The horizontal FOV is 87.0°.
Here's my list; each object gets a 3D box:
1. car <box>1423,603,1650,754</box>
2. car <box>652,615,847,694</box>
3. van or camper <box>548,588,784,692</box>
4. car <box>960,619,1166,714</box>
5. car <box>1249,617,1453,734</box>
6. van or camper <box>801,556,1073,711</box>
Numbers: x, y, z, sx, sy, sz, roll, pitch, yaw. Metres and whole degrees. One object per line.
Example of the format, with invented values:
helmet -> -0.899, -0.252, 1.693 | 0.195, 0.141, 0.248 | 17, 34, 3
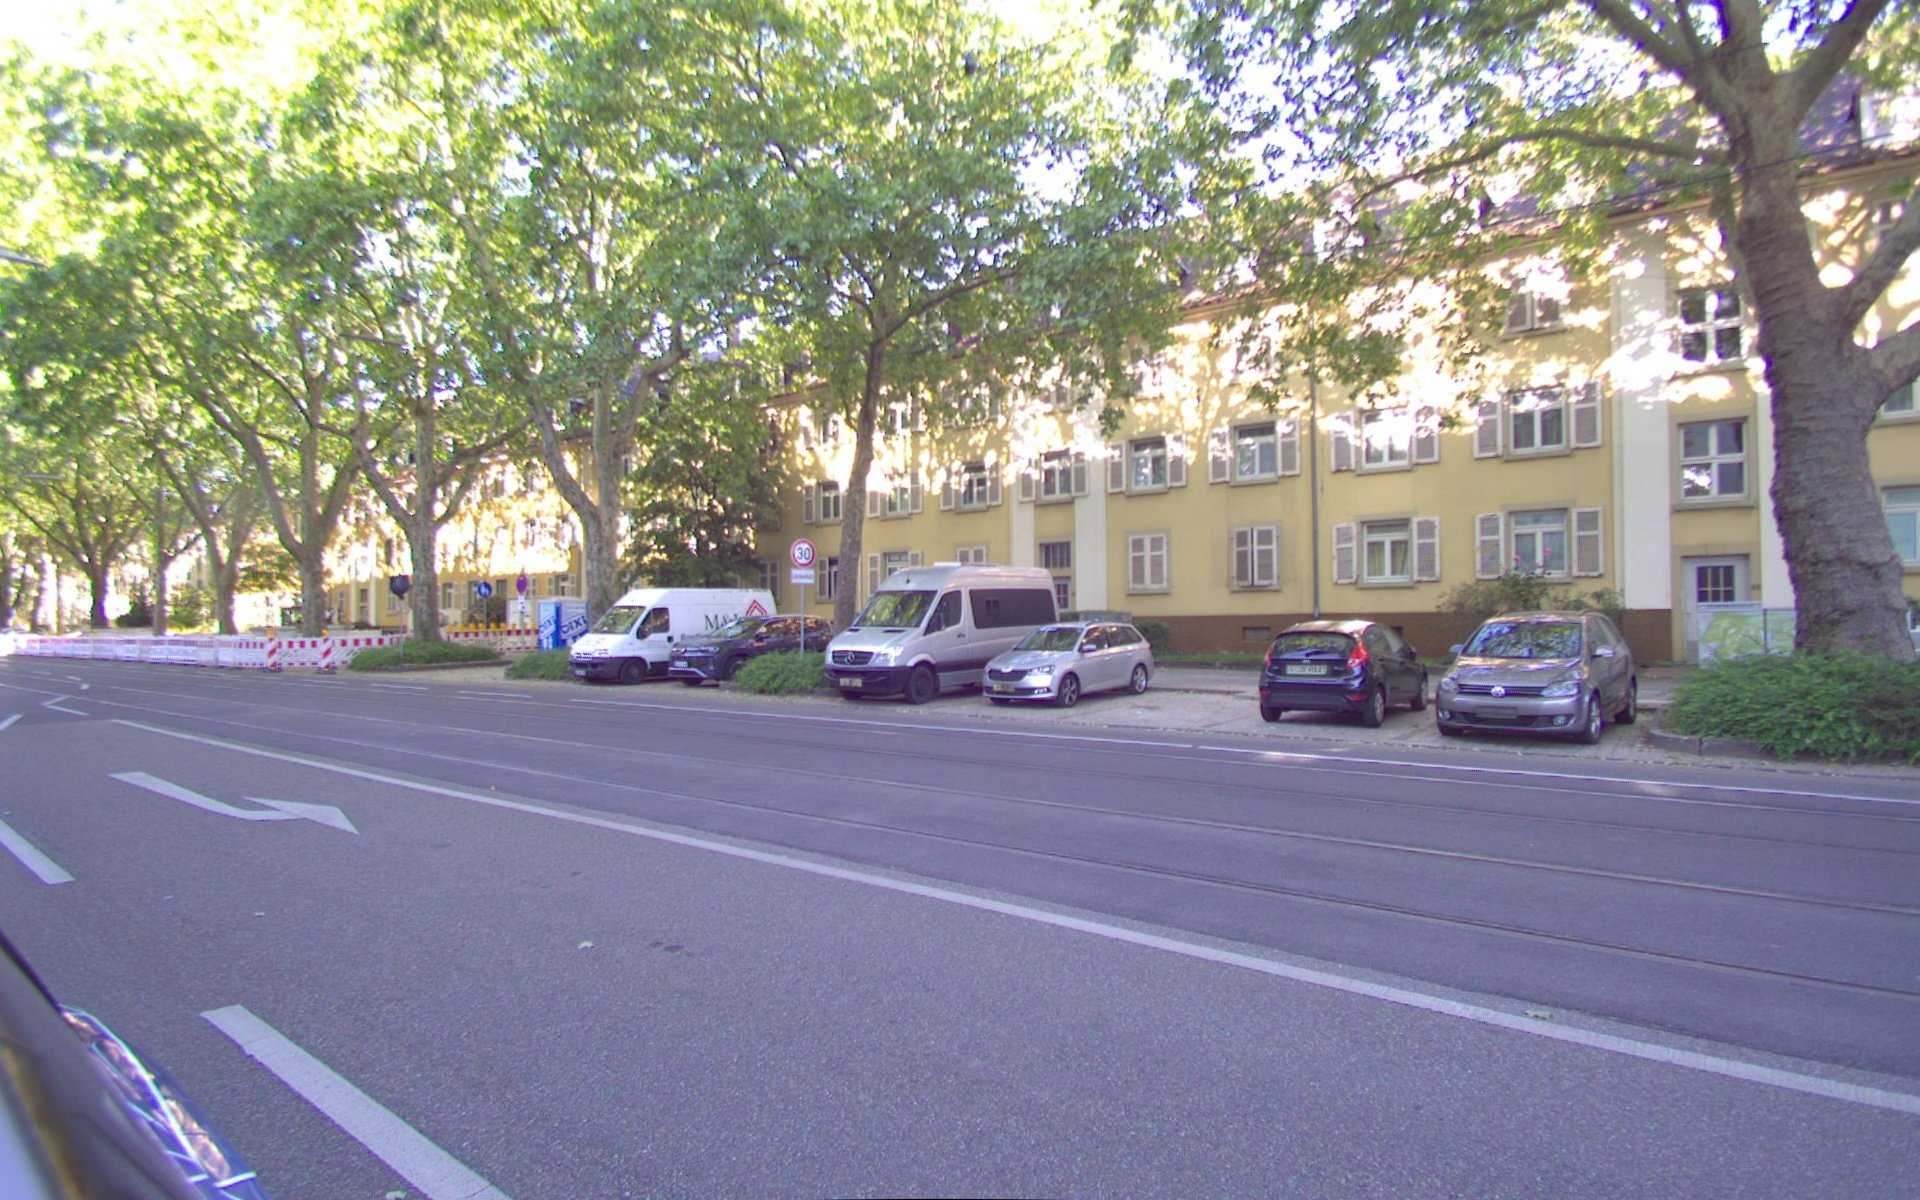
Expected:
car -> 7.682, 0.879, 13.309 | 1.844, 1.631, 4.028 | -1, 0, 41
car -> -4.960, 1.219, 24.322 | 1.693, 1.645, 4.481 | -1, 0, 41
van or camper -> -7.475, 0.916, 26.335 | 2.154, 2.403, 5.690 | -1, 0, 40
car -> 2.014, 1.139, 18.768 | 1.693, 1.457, 4.221 | -1, 0, 41
car -> 6.027, 1.028, 15.369 | 1.693, 1.457, 3.811 | -1, 0, 41
van or camper -> -0.255, 0.563, 20.326 | 2.154, 2.668, 5.857 | -1, 0, 40
